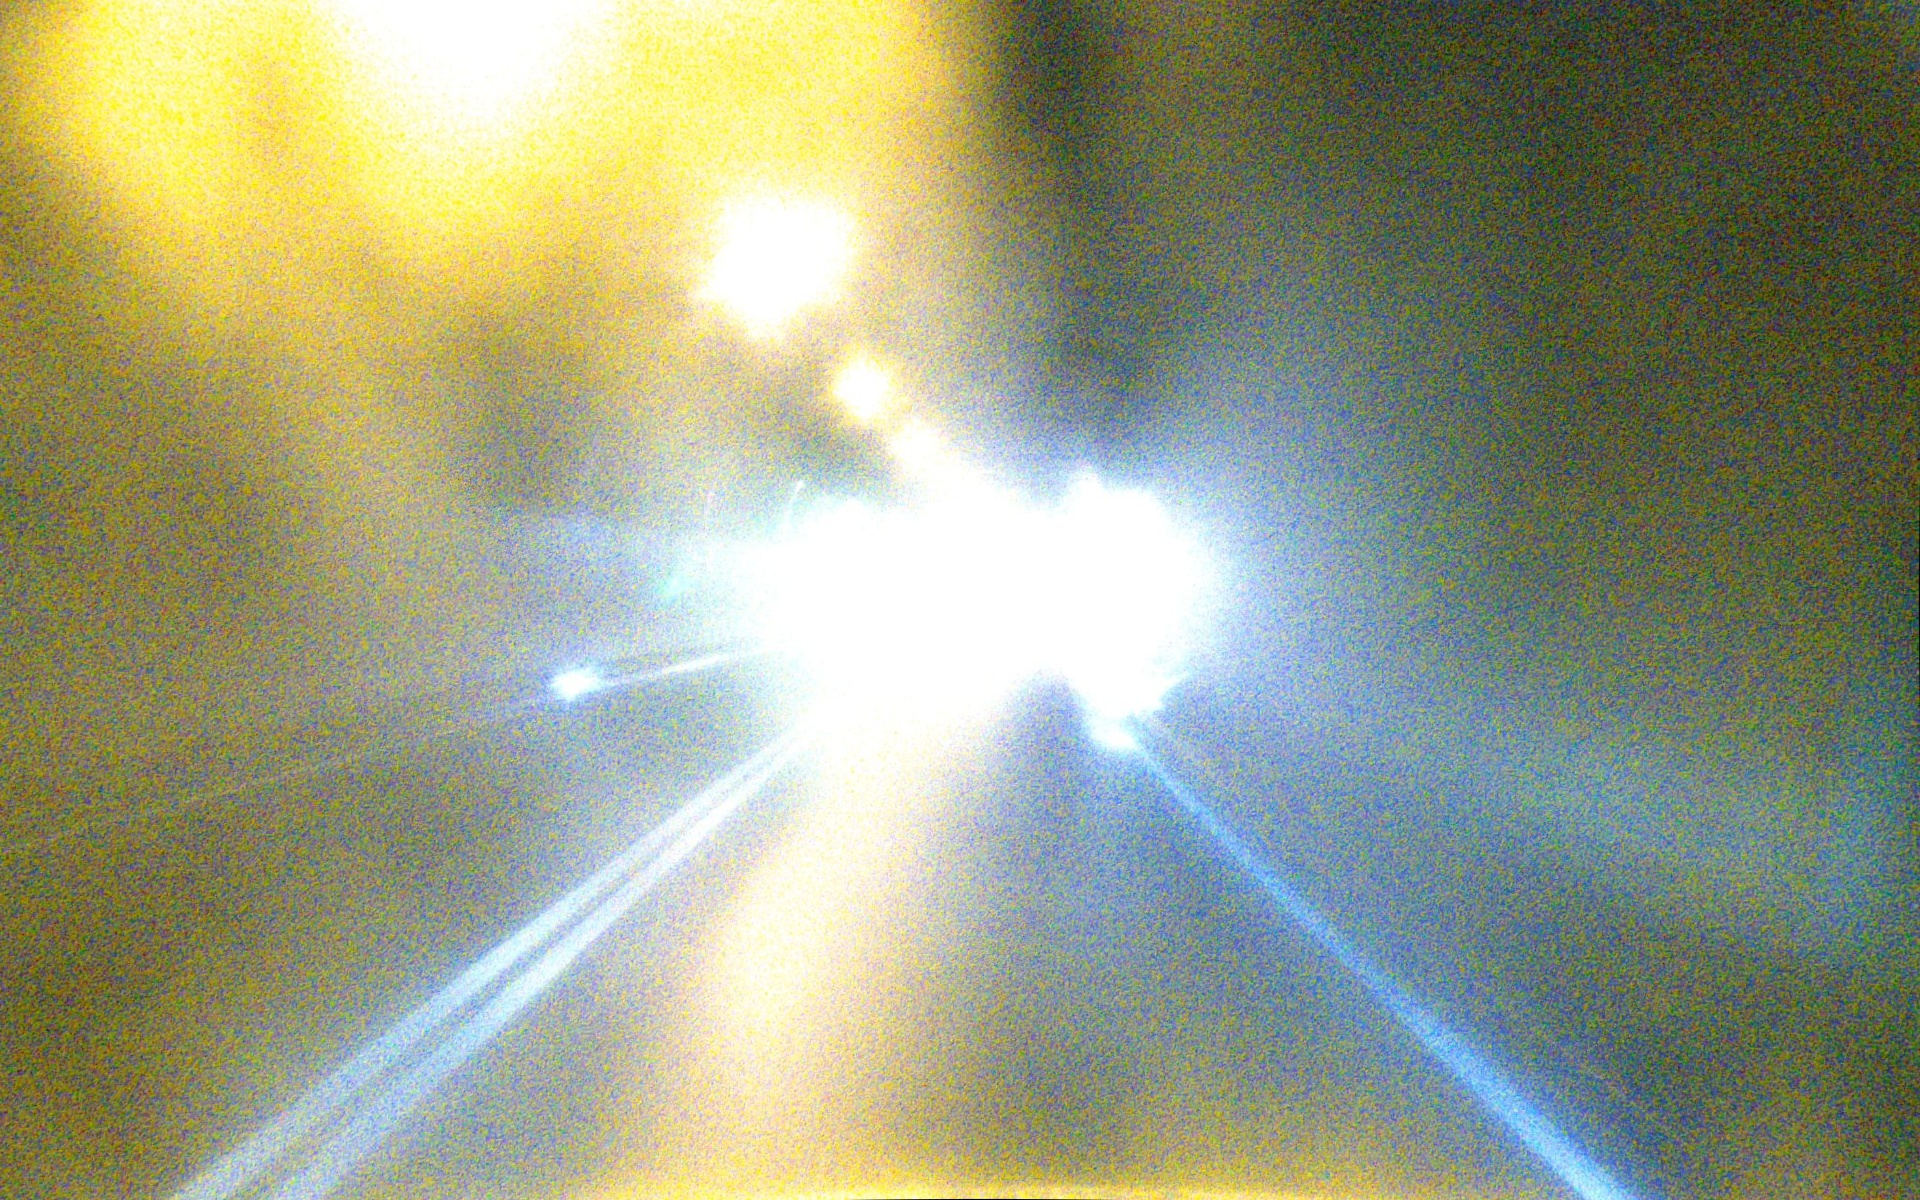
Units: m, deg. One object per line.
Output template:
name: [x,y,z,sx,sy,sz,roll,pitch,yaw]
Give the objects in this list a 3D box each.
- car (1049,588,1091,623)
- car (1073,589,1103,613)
car: [5.482,0.247,82.165,1.951,1.679,4.003,1,0,6]
car: [9.258,0.048,119.705,1.951,1.679,4.003,1,0,7]
